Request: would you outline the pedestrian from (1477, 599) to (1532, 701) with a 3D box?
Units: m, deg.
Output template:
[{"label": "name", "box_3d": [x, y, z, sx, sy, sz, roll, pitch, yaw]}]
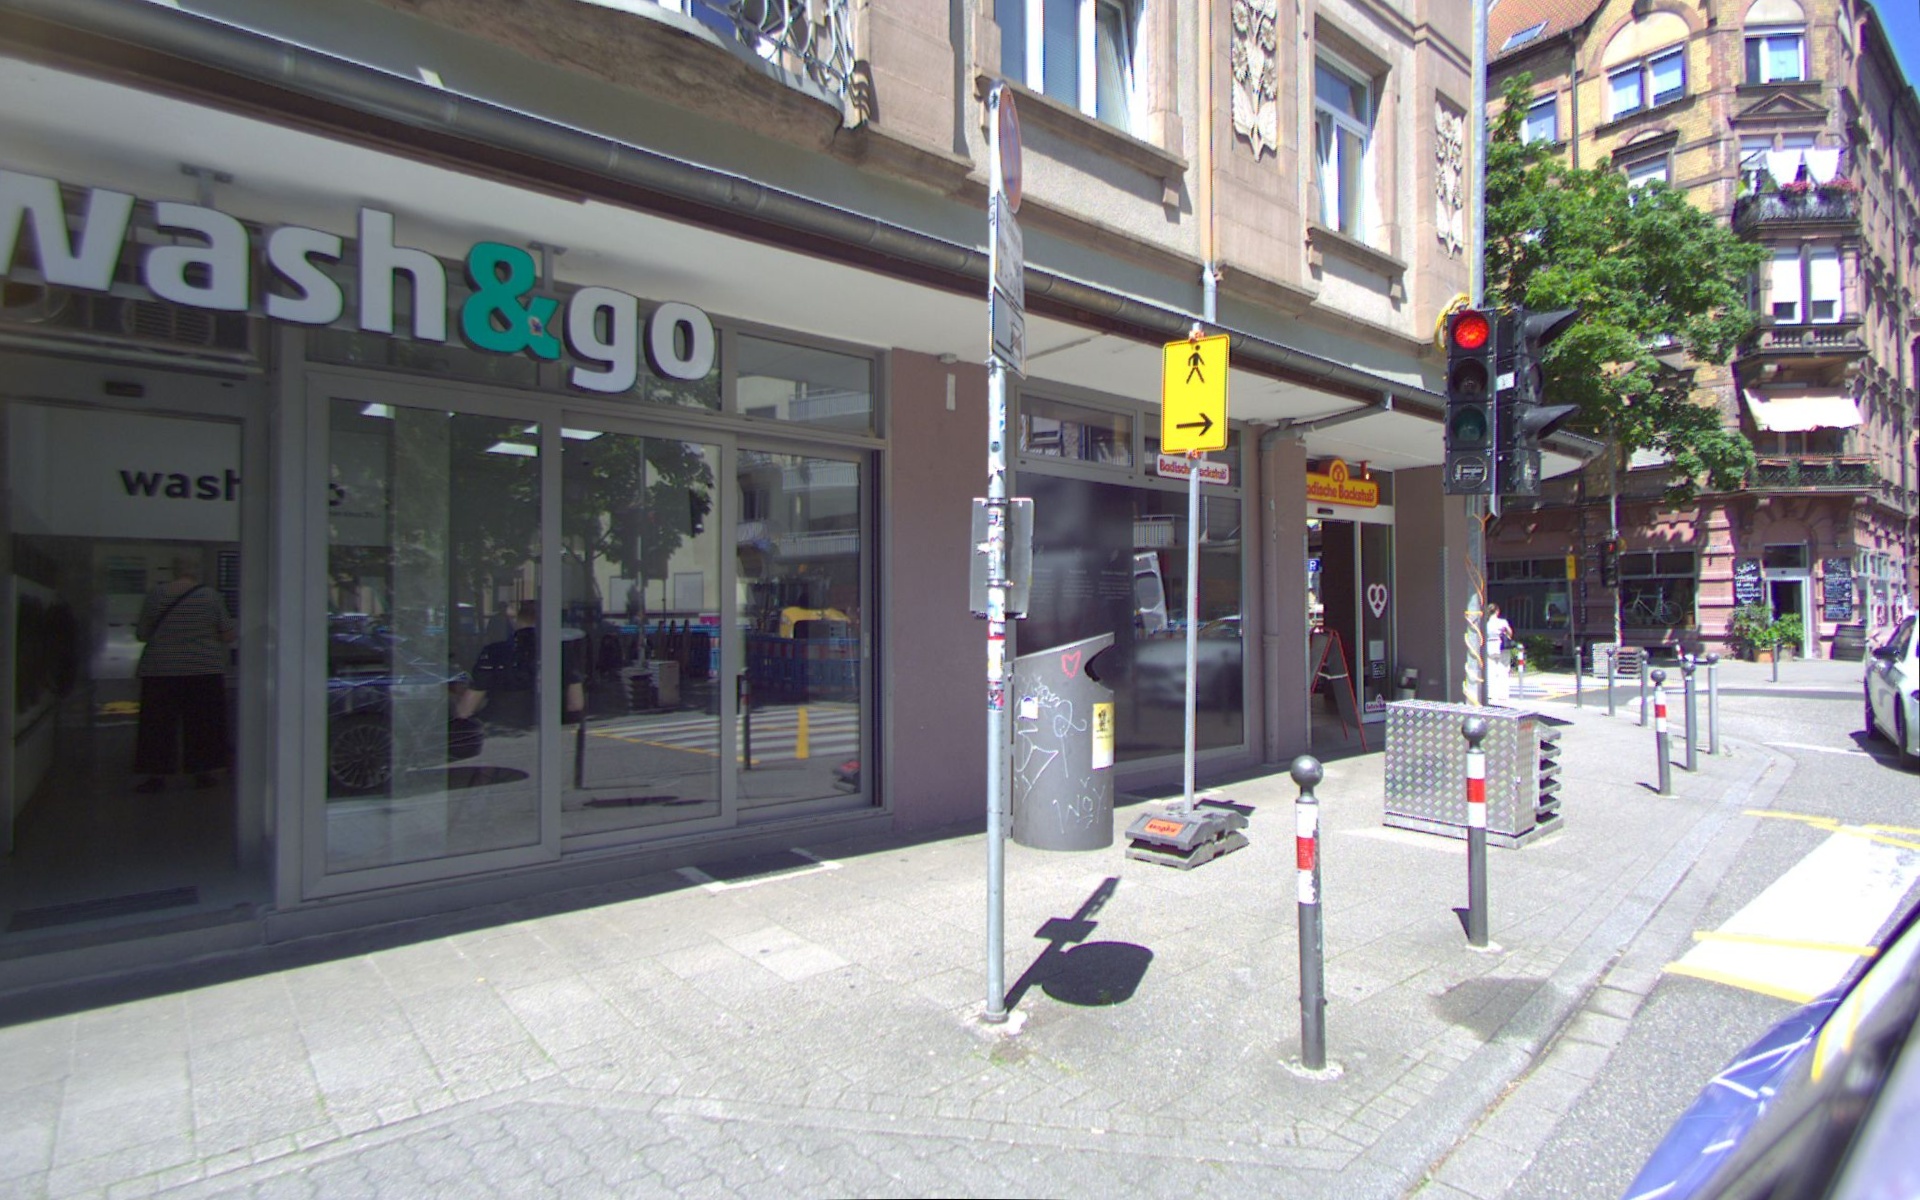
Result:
[{"label": "pedestrian", "box_3d": [9.229, 0.842, 17.150, 0.701, 1.667, 0.416, 1, -4, 43]}]

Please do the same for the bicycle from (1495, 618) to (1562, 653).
[{"label": "bicycle", "box_3d": [17.309, 1.076, 30.844, 0.513, 1.021, 1.694, 1, -2, -38]}]

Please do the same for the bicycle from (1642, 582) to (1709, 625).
[{"label": "bicycle", "box_3d": [20.032, 0.110, 28.368, 0.500, 1.167, 1.425, 0, -2, -37]}]

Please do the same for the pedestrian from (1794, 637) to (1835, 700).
[{"label": "pedestrian", "box_3d": [24.112, 1.920, 28.573, 0.711, 1.740, 0.496, -1, 0, 5]}]

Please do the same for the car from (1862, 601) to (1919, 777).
[{"label": "car", "box_3d": [9.815, 0.730, 9.407, 1.805, 1.444, 4.183, -2, -2, 38]}]

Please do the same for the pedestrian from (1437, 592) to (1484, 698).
[{"label": "pedestrian", "box_3d": [8.690, 0.782, 17.575, 0.575, 1.792, 0.464, 1, -4, 43]}]
